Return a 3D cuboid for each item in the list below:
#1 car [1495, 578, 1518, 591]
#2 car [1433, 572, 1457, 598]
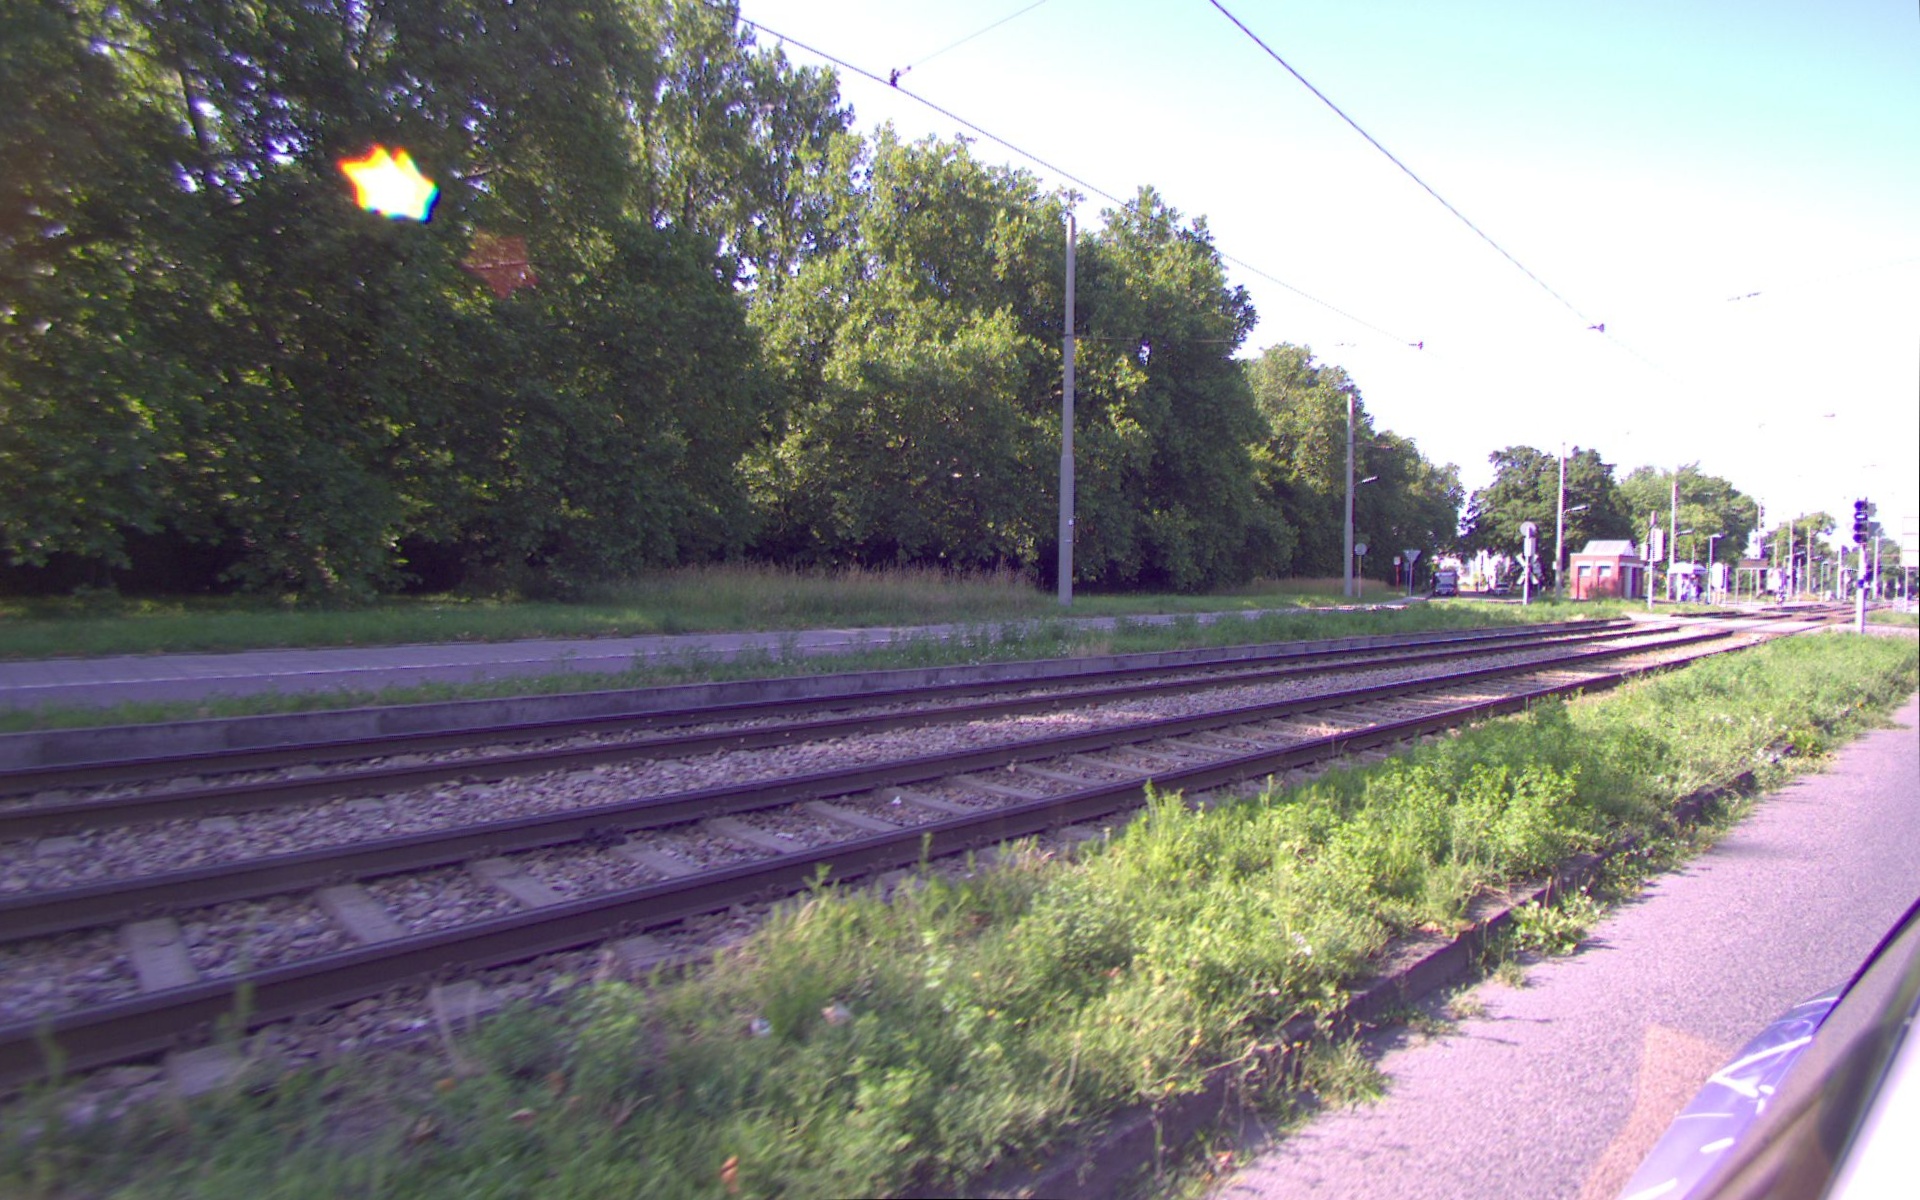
[{"bbox_3d":[65.440,-1.855,121.239,1.785,1.409,3.760,2,2,20],"label":"car"},{"bbox_3d":[48.690,-1.499,101.613,1.839,2.552,3.833,0,0,22],"label":"car"}]
